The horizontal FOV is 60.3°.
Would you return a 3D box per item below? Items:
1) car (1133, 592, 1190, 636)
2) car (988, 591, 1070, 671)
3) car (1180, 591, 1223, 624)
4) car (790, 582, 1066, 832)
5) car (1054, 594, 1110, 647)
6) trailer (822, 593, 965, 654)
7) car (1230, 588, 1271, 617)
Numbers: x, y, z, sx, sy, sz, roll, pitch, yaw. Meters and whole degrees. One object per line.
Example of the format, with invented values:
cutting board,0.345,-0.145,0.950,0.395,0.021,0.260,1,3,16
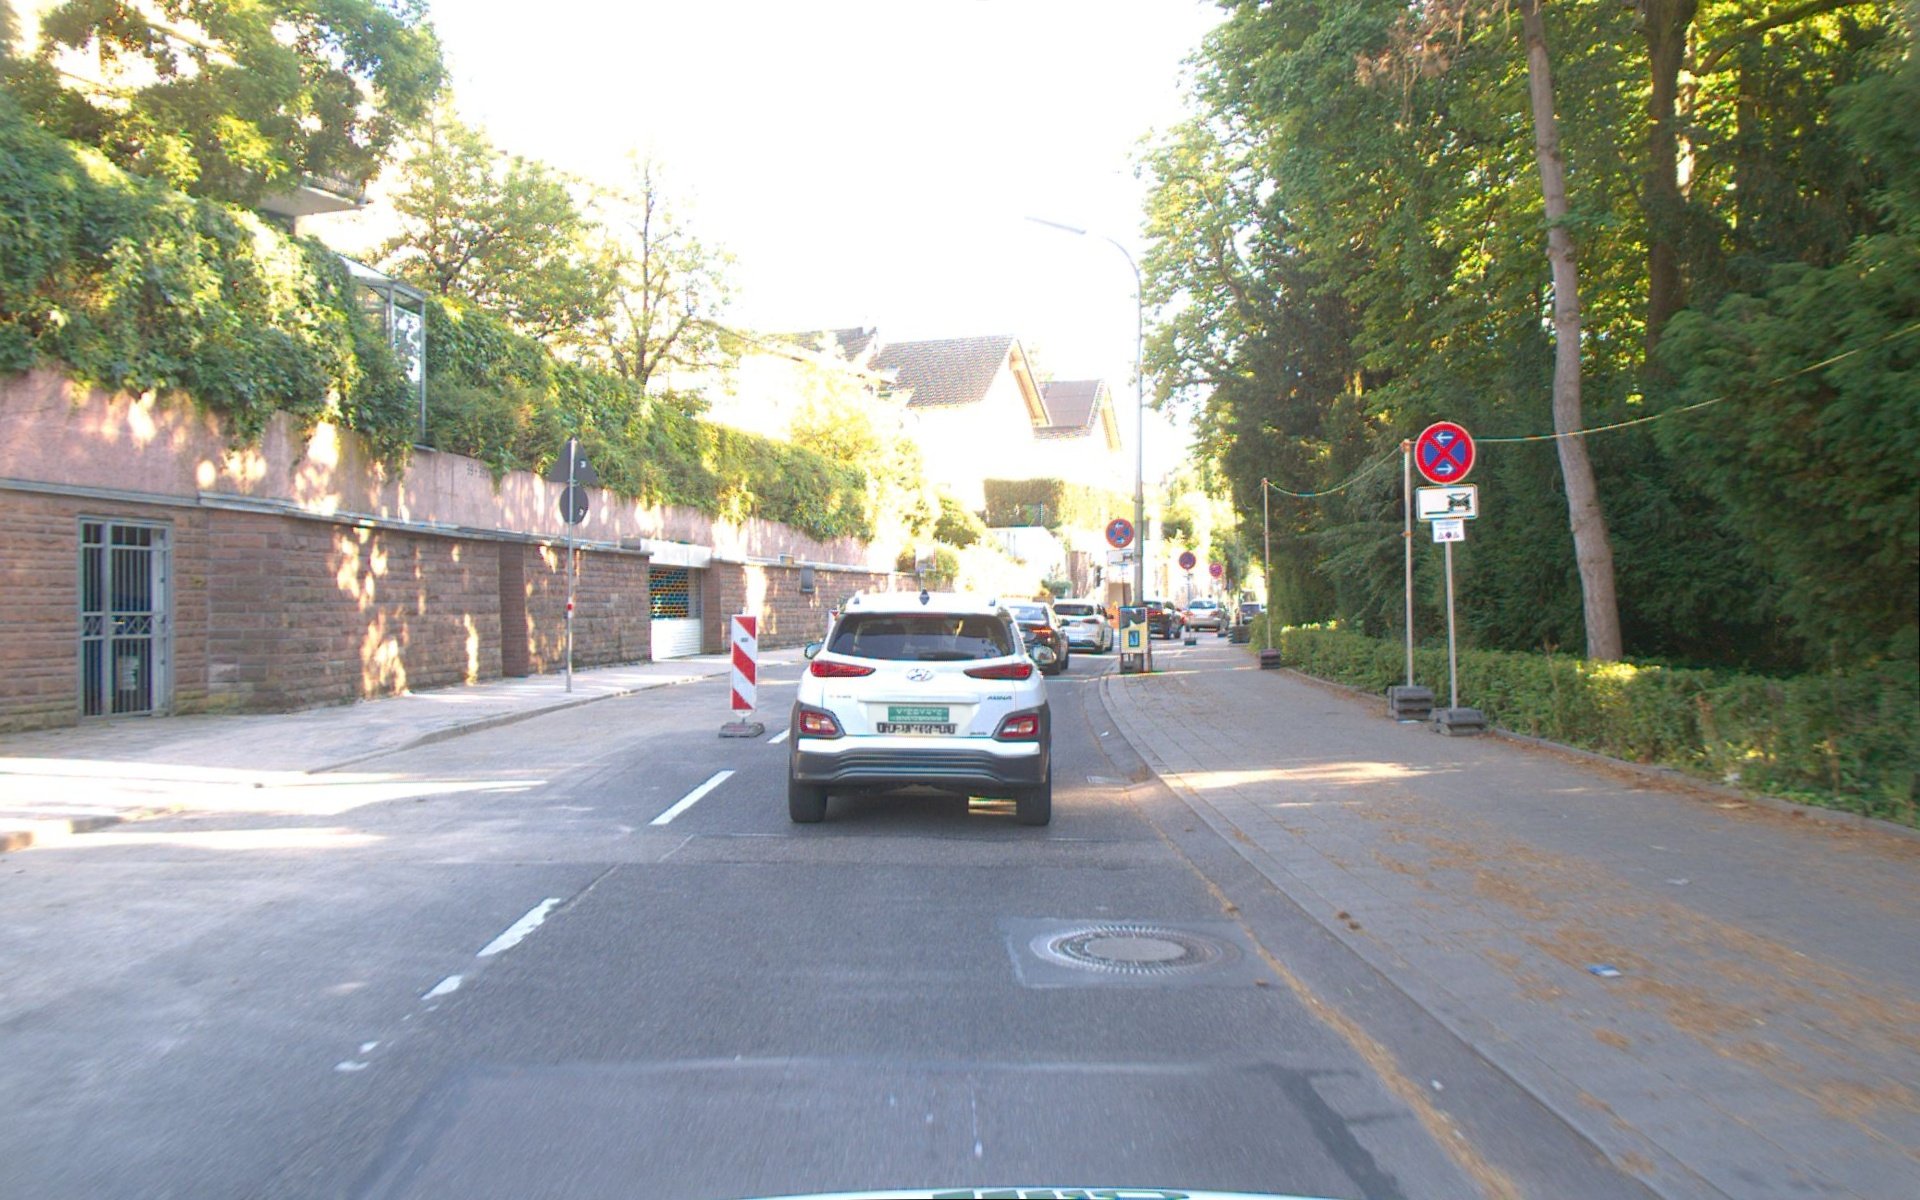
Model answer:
car,8.027,0.524,65.660,1.658,1.559,3.885,-4,0,14
car,1.471,0.601,34.174,1.480,1.560,3.550,-1,0,5
car,11.809,0.342,80.680,1.658,1.472,3.885,-4,0,14
car,-0.245,0.678,12.542,1.736,1.569,3.999,1,0,-1
car,3.656,0.576,49.273,1.537,1.503,3.550,0,0,6
trailer,-1.691,0.591,45.491,2.583,1.515,7.124,1,0,9
car,16.721,0.132,95.105,1.658,1.530,3.632,-4,0,19
